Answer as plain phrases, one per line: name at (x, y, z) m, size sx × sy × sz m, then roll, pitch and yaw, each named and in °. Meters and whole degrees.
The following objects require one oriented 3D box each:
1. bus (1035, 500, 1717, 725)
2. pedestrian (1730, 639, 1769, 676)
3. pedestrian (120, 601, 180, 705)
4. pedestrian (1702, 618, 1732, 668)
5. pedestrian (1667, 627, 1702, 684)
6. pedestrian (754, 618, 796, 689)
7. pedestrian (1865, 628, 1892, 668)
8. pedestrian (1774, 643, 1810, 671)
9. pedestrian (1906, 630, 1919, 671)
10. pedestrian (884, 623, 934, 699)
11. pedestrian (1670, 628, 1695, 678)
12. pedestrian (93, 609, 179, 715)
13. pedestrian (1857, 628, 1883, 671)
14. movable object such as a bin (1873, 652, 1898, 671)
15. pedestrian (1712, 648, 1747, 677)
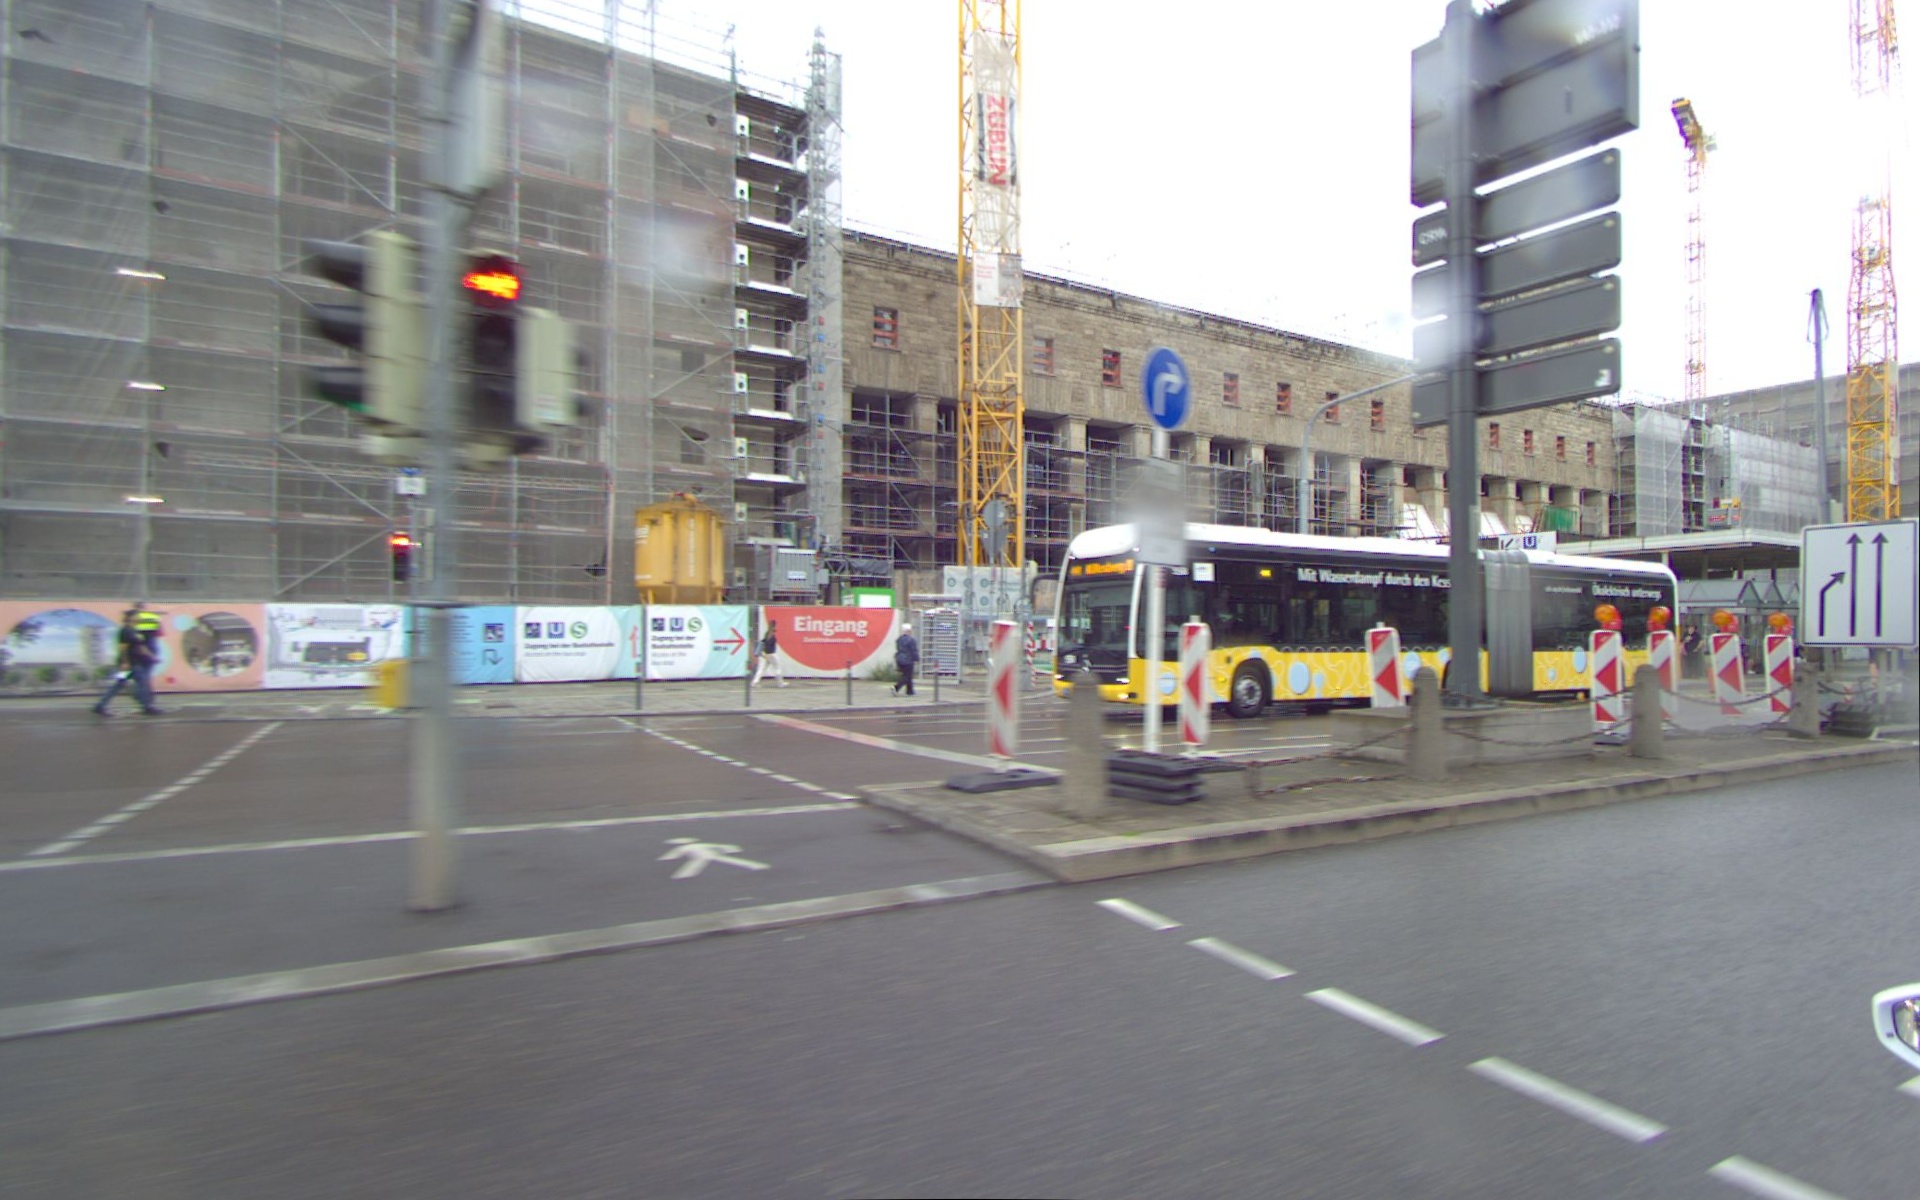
bus at (10.294, 0.480, 22.103) m, size 18.848 × 3.624 × 2.897 m, roll 2°, pitch -2°, yaw -30°
pedestrian at (32.302, 2.331, 41.109) m, size 0.822 × 1.451 × 1.049 m, roll 1°, pitch -1°, yaw -32°
pedestrian at (-14.704, 0.948, 18.250) m, size 0.749 × 1.836 × 0.864 m, roll 1°, pitch -1°, yaw -35°
pedestrian at (28.135, 1.587, 37.321) m, size 0.741 × 1.814 × 0.718 m, roll 1°, pitch -1°, yaw -37°
pedestrian at (25.586, 1.953, 35.465) m, size 0.814 × 1.985 × 0.754 m, roll 2°, pitch -1°, yaw -34°
pedestrian at (-4.499, 1.300, 24.407) m, size 0.860 × 1.686 × 0.753 m, roll 1°, pitch -1°, yaw -22°
pedestrian at (42.428, 2.225, 46.408) m, size 0.769 × 1.814 × 0.671 m, roll 1°, pitch -1°, yaw 31°
pedestrian at (36.230, 2.478, 43.739) m, size 1.043 × 1.173 × 0.945 m, roll 1°, pitch -1°, yaw -31°
pedestrian at (42.804, 2.263, 44.704) m, size 0.848 × 1.814 × 0.773 m, roll 1°, pitch -1°, yaw -24°
pedestrian at (-1.111, 1.319, 21.877) m, size 0.860 × 1.618 × 0.753 m, roll 1°, pitch -1°, yaw -22°
pedestrian at (26.434, 1.926, 36.756) m, size 0.799 × 1.814 × 0.551 m, roll 1°, pitch -1°, yaw -40°
pedestrian at (-13.722, 1.016, 16.751) m, size 0.953 × 1.703 × 0.751 m, roll 1°, pitch -1°, yaw -30°
pedestrian at (40.577, 2.214, 44.808) m, size 0.664 × 1.872 × 0.558 m, roll 1°, pitch -1°, yaw 14°
movable object such as a bin at (41.218, 2.733, 44.744) m, size 0.621 × 0.800 × 0.512 m, roll 0°, pitch -2°, yaw 14°
pedestrian at (30.646, 2.493, 39.986) m, size 0.916 × 1.107 × 0.839 m, roll 1°, pitch -1°, yaw -33°
